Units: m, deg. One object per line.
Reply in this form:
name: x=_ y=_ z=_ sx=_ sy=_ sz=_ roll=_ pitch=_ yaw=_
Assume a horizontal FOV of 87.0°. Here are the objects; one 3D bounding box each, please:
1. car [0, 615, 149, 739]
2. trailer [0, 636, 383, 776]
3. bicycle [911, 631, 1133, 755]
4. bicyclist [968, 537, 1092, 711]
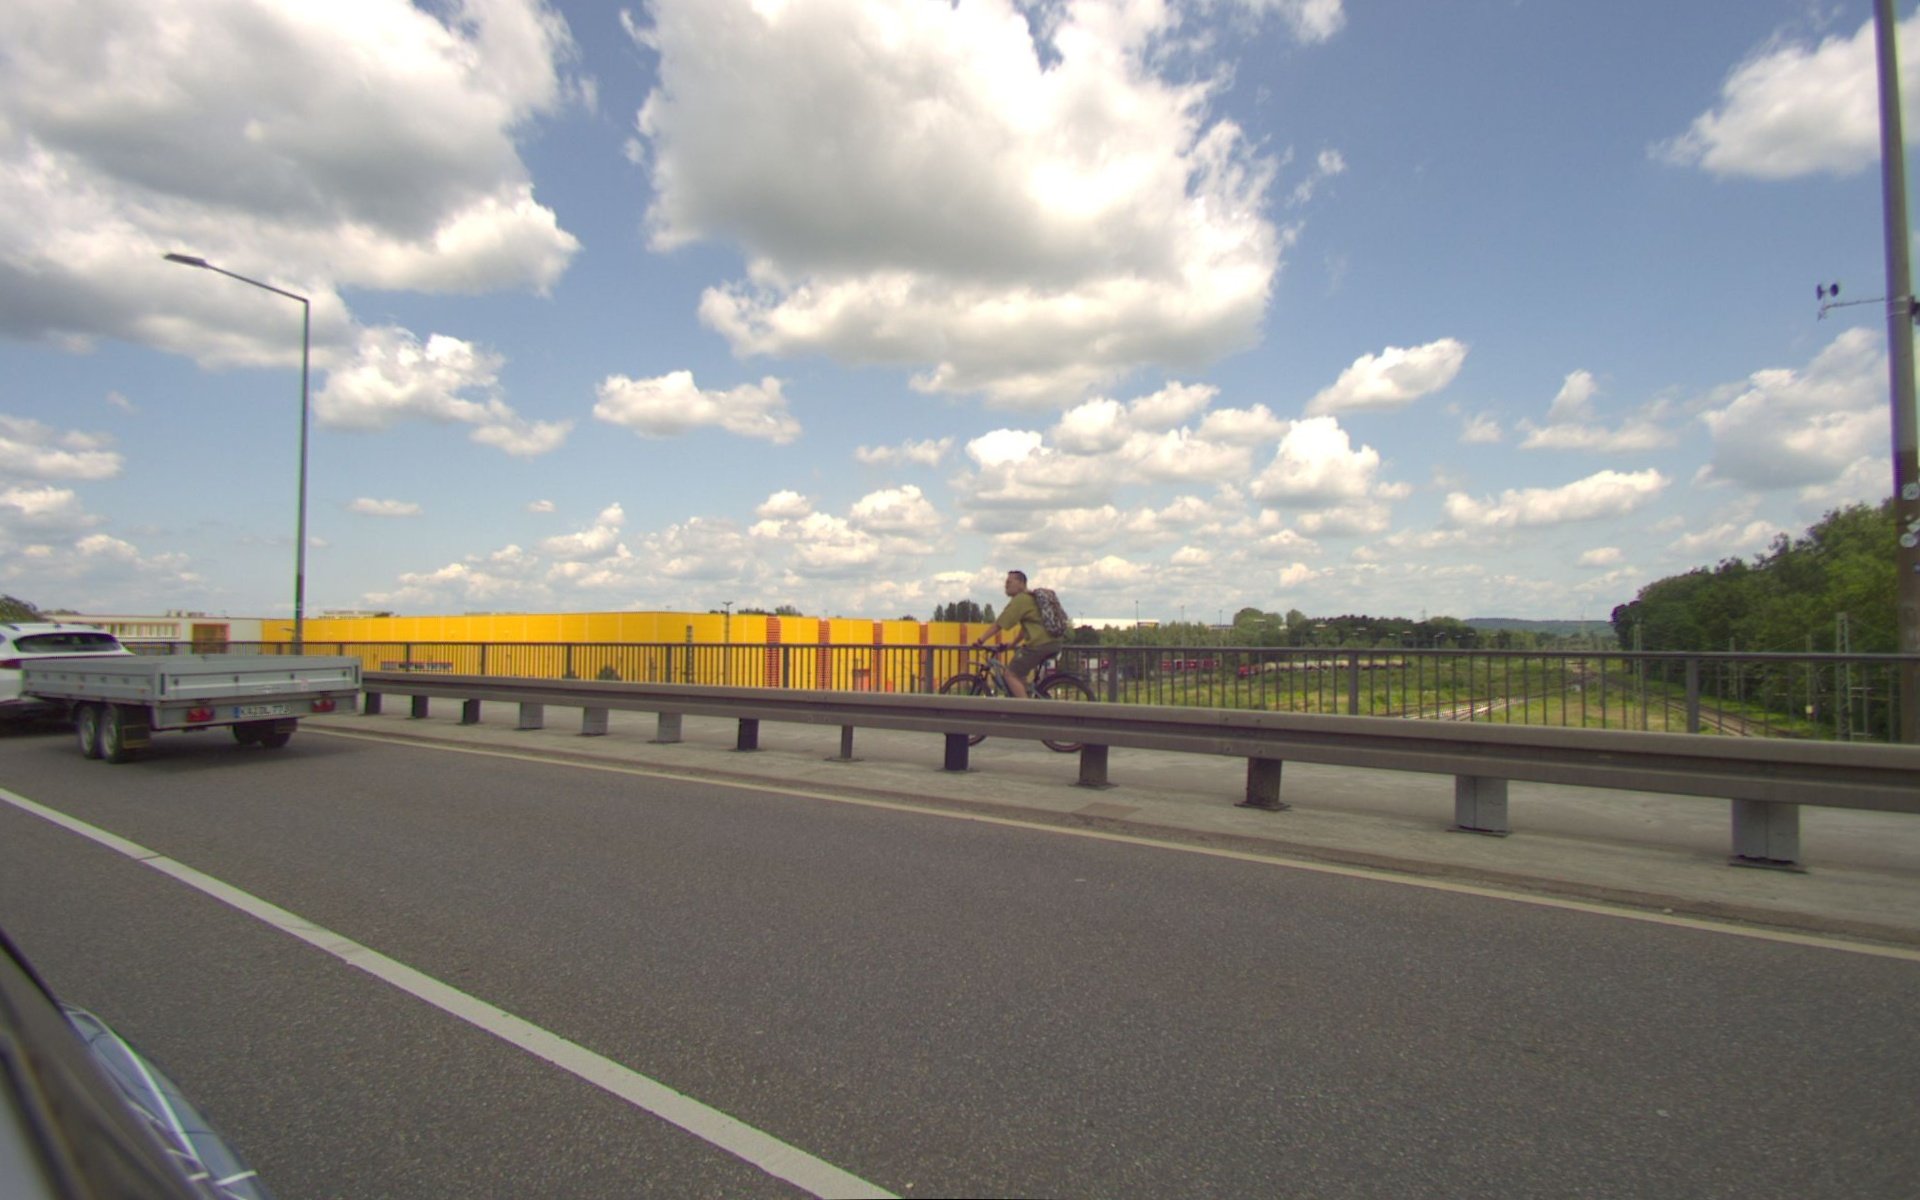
car: x=-13.630 y=1.051 z=14.631 sx=4.337 sy=1.546 sz=1.791 roll=-2 pitch=-1 yaw=34
trailer: x=-9.268 y=1.092 z=11.818 sx=5.968 sy=1.218 sz=2.028 roll=-2 pitch=-1 yaw=35
bicycle: x=0.580 y=0.868 z=10.004 sx=2.110 sy=1.103 sz=0.762 roll=-2 pitch=-2 yaw=35
bicyclist: x=0.687 y=0.234 z=9.938 sx=0.945 sy=1.614 sz=0.760 roll=-2 pitch=-2 yaw=35
